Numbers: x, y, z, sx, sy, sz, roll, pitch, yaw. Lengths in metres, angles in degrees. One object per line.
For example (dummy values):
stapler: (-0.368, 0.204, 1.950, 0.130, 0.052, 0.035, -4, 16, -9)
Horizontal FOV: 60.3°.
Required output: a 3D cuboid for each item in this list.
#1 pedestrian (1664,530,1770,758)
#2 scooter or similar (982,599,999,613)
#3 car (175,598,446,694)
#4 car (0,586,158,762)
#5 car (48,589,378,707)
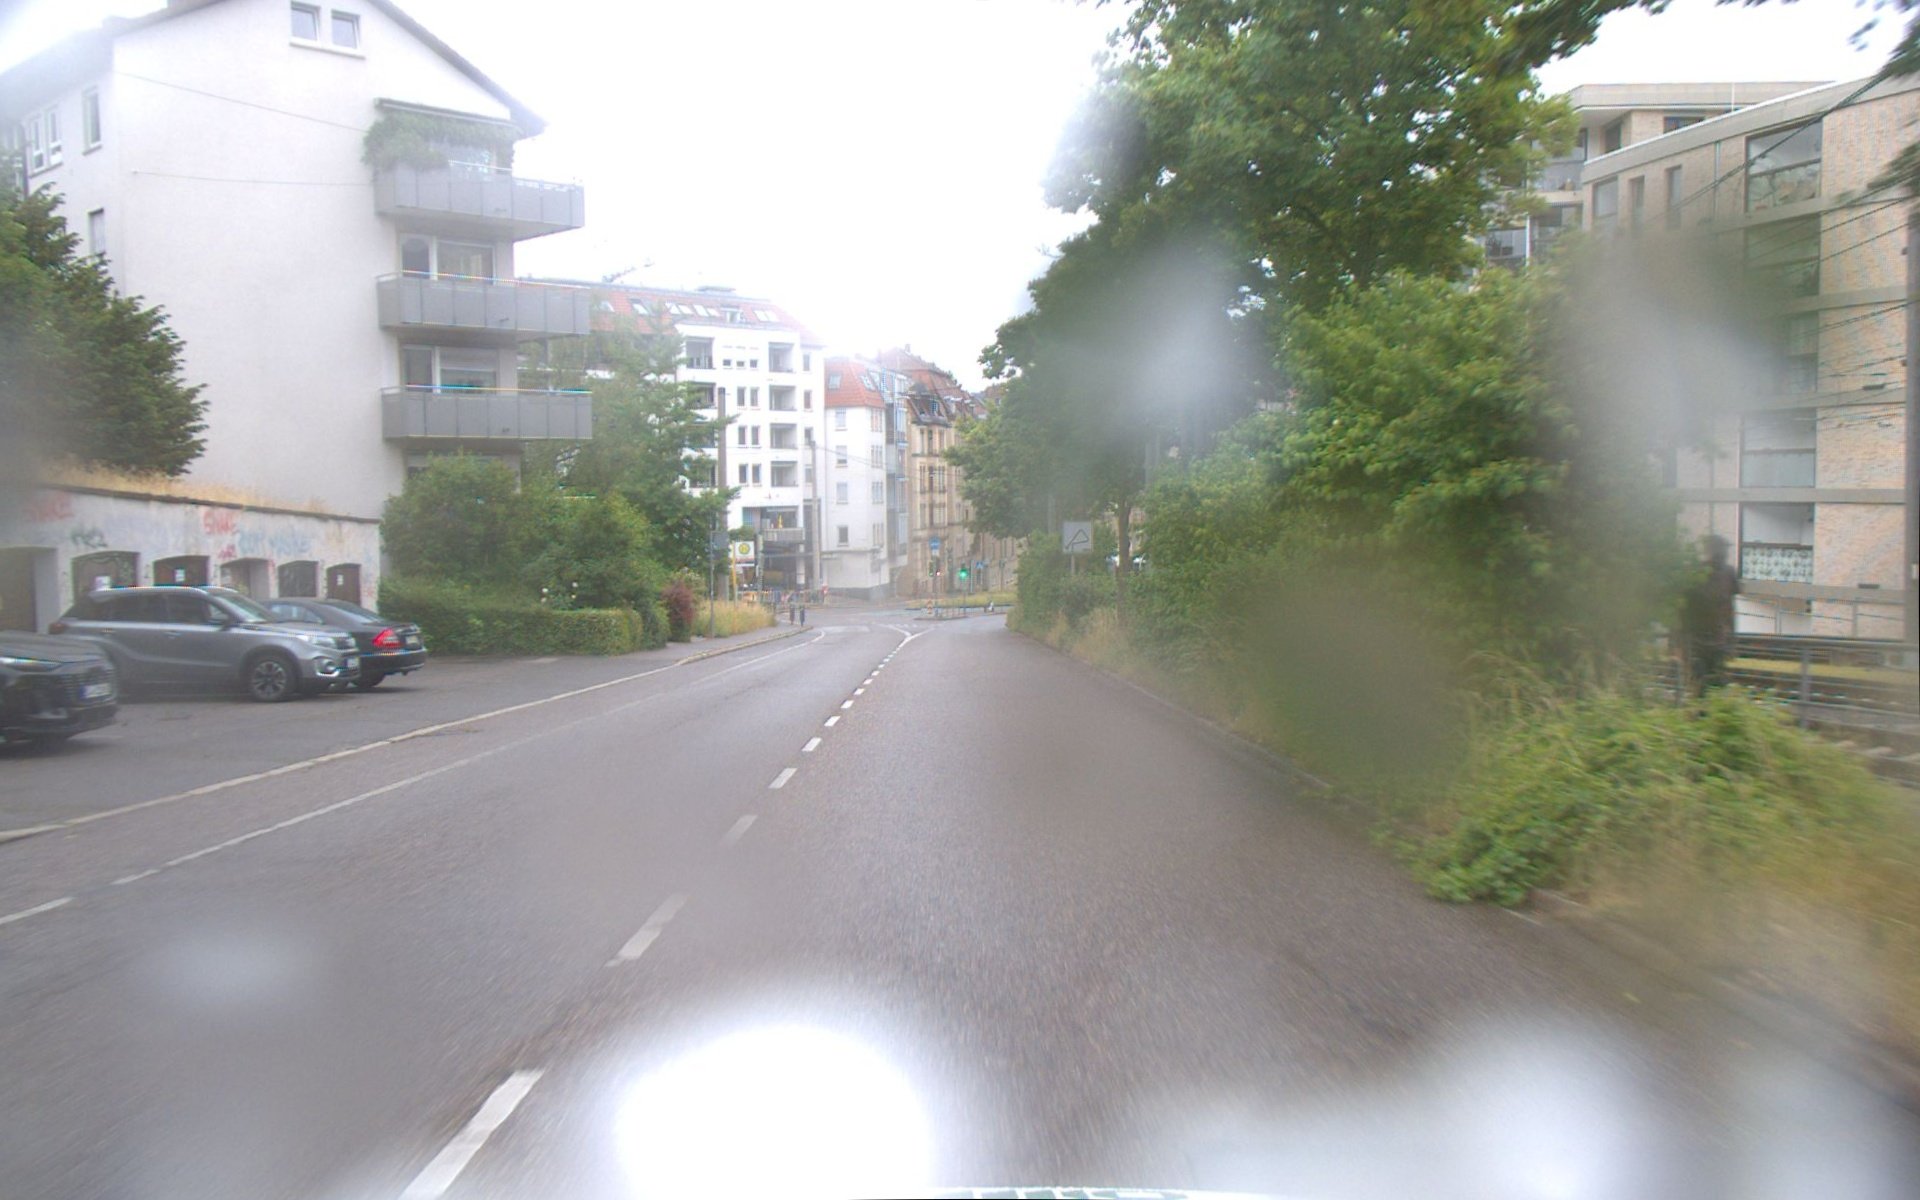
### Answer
pedestrian: (5.861, 0.332, 12.825, 0.551, 1.717, 0.524, -1, 0, -2)
scooter or similar: (1.822, 0.355, 99.662, 0.475, 0.774, 1.328, -1, 0, 27)
car: (-10.210, 0.711, 26.177, 3.556, 1.431, 1.784, -1, 0, 1)
car: (-10.510, 0.713, 16.239, 4.359, 1.630, 1.813, -1, 0, -2)
car: (-10.677, 0.665, 23.877, 3.909, 1.587, 1.878, -1, 0, -5)
